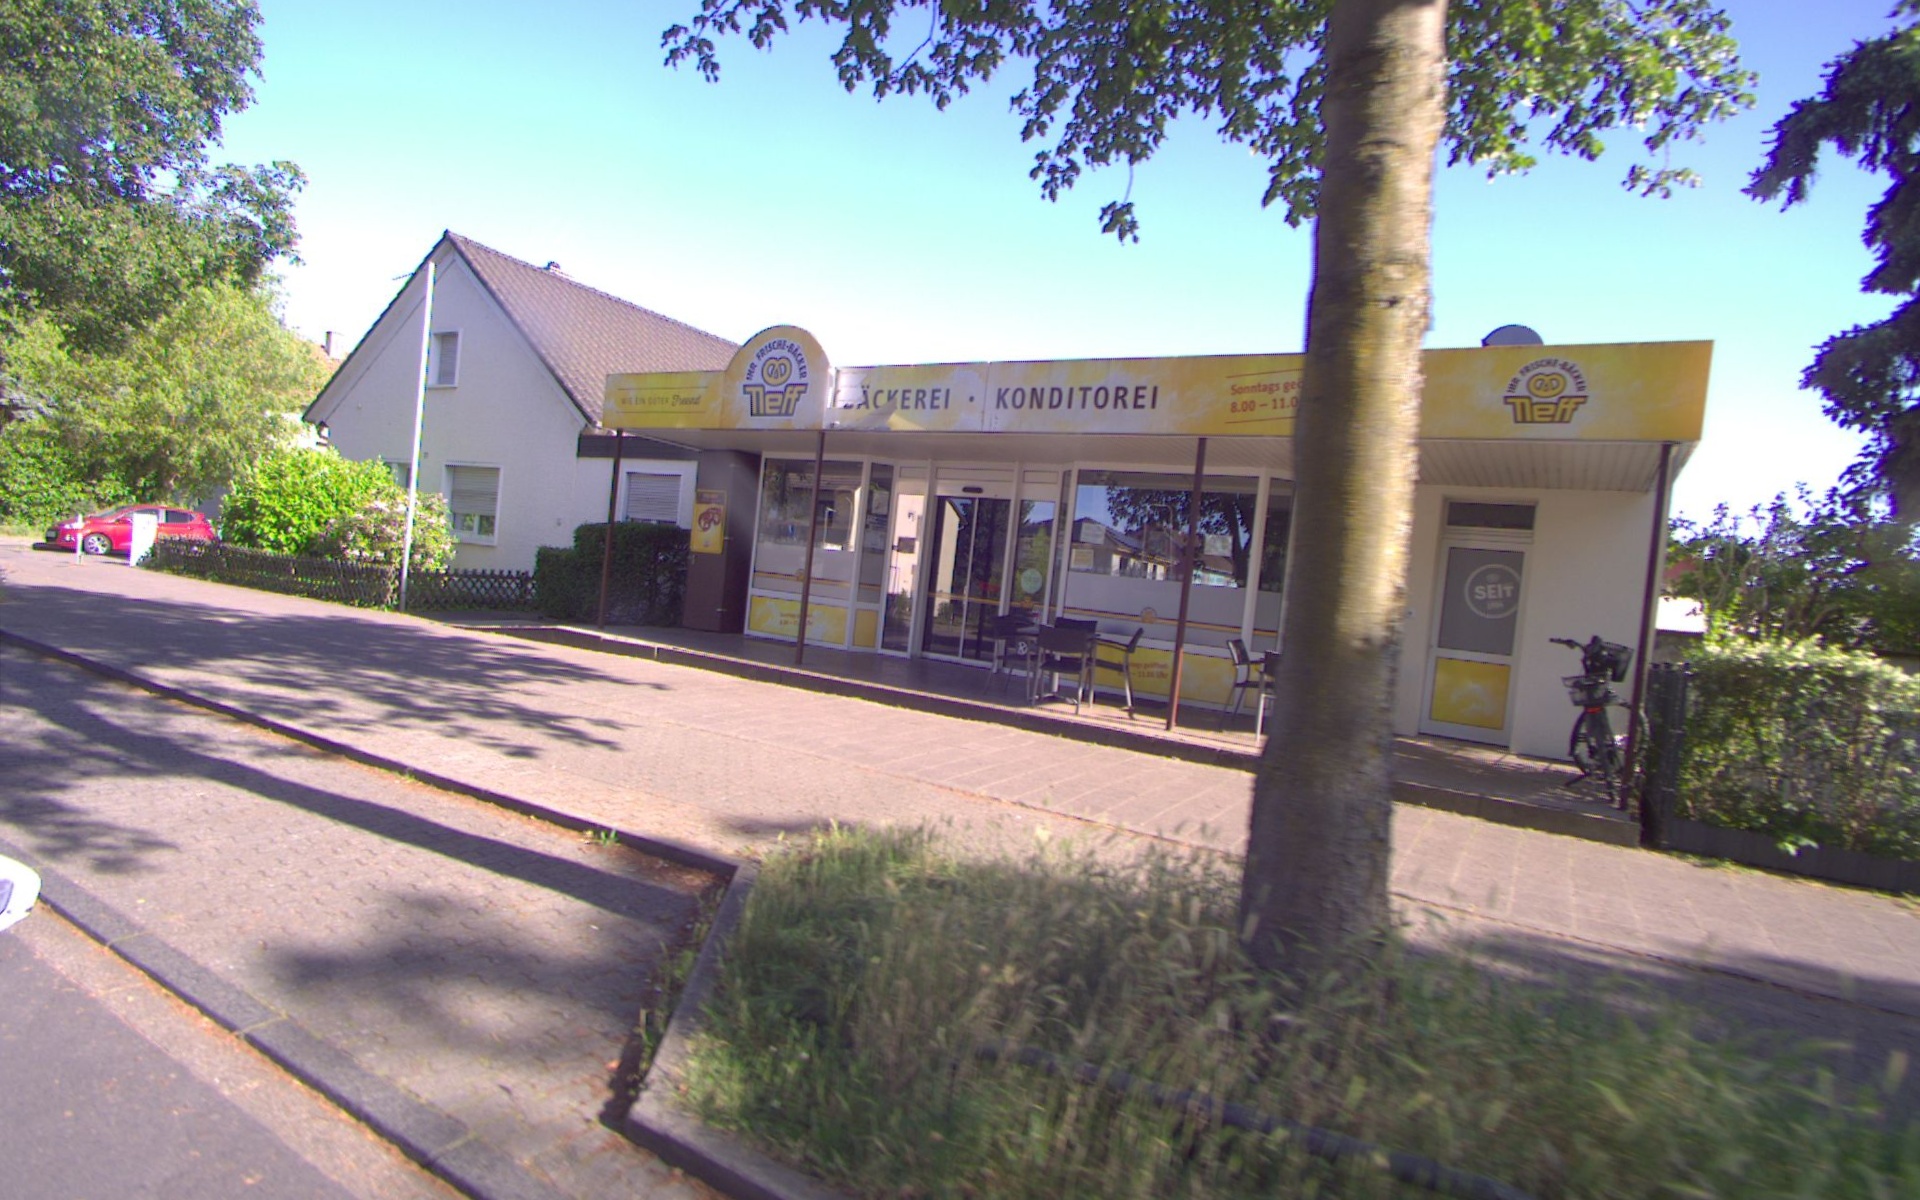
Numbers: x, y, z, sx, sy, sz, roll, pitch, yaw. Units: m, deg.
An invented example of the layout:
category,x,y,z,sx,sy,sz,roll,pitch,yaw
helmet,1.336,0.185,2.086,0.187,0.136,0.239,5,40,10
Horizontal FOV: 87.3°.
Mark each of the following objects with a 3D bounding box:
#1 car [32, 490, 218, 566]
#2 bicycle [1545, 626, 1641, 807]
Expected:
category,x,y,z,sx,sy,sz,roll,pitch,yaw
car,-23.086,-1.950,27.943,1.611,1.529,3.547,8,0,27
bicycle,5.017,0.863,8.034,0.369,1.262,1.574,6,3,26
